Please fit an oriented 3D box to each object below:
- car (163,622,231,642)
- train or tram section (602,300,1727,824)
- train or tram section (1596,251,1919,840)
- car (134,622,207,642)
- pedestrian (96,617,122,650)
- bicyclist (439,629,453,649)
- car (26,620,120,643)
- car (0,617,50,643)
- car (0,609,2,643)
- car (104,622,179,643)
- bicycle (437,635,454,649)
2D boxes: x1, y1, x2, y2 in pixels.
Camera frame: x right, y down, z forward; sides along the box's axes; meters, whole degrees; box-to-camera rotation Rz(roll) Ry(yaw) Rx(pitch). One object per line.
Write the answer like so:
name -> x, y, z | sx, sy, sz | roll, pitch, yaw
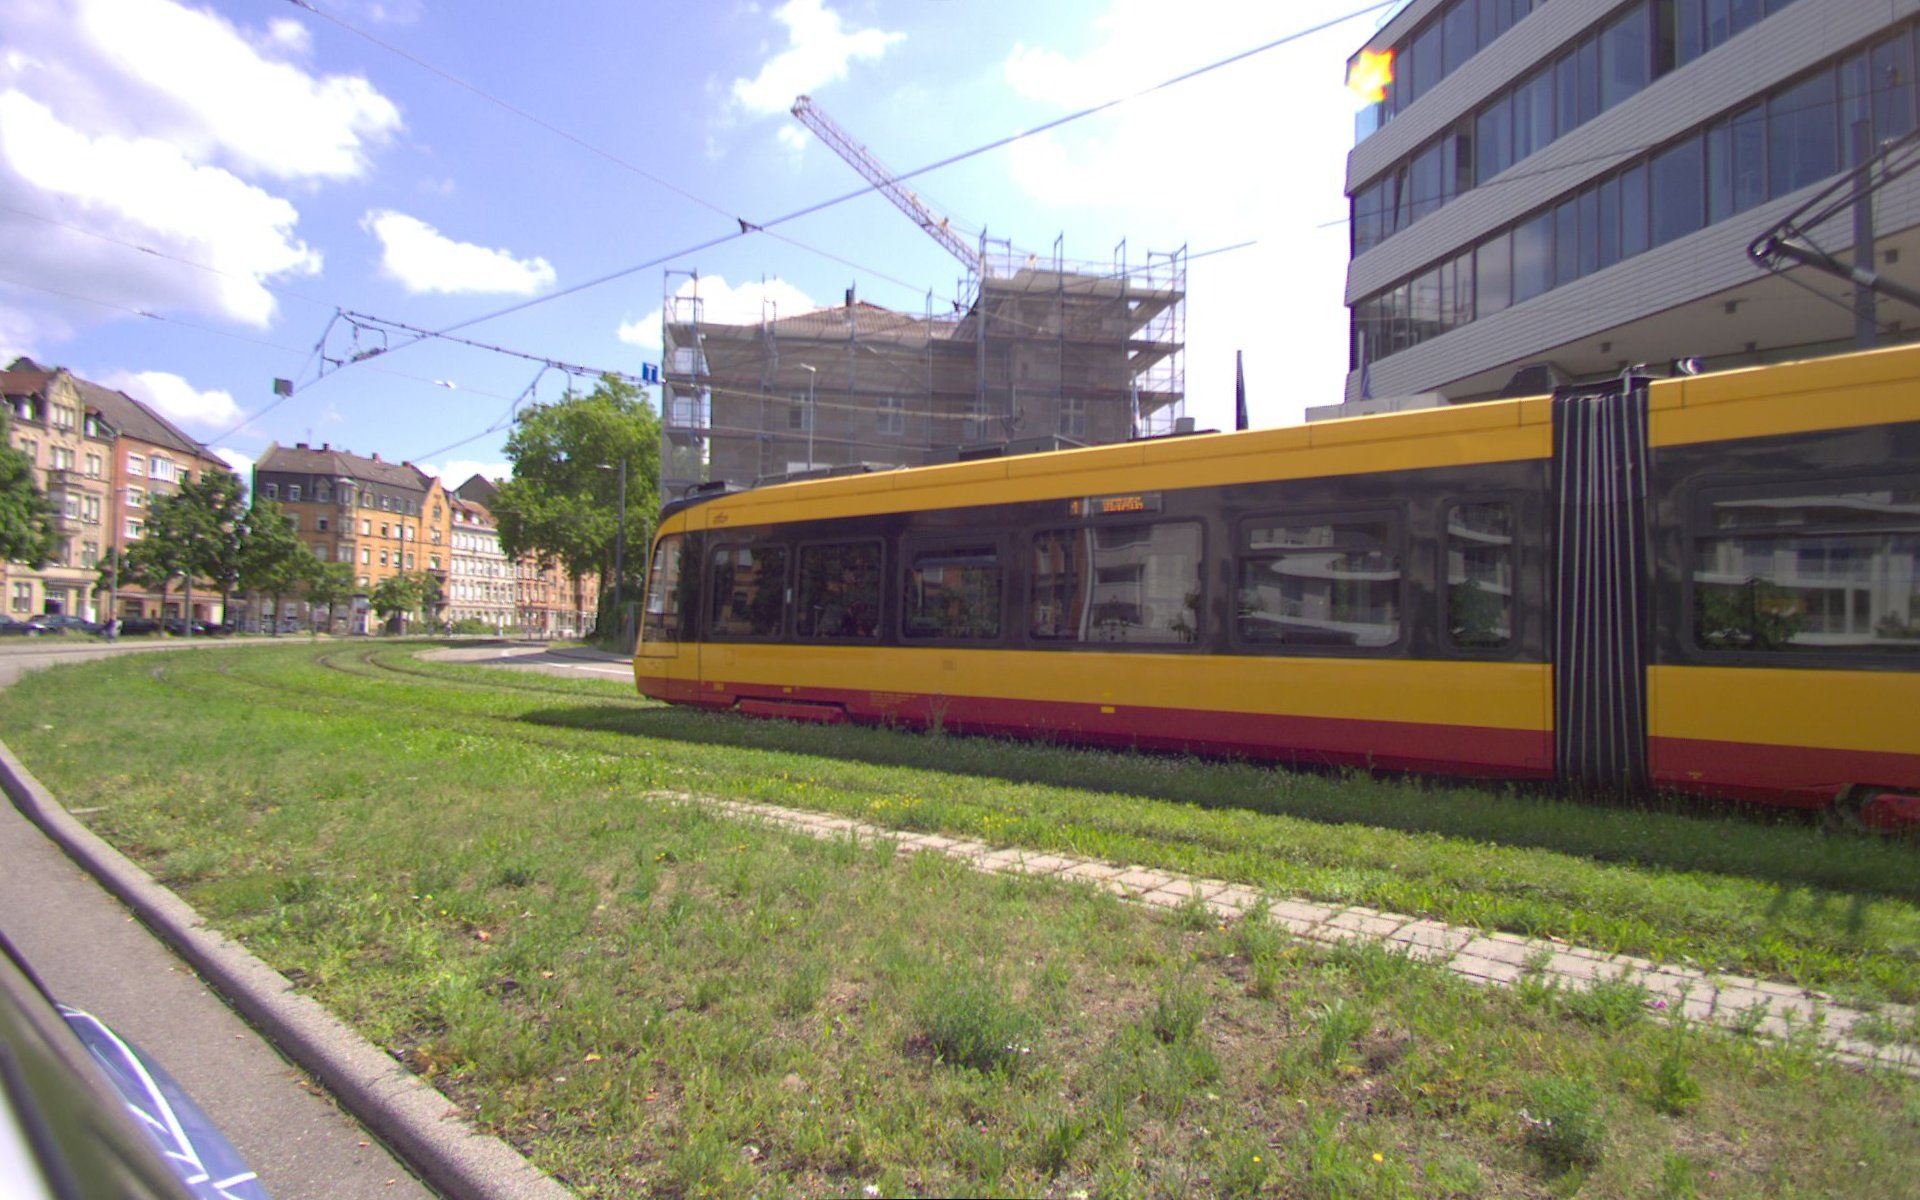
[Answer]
car -> -57.167, 2.388, 75.916 | 3.932, 1.364, 1.967 | 0, -2, -33
train or tram section -> 0.922, -0.129, 12.411 | 13.481, 3.627, 3.185 | -1, -3, 38
train or tram section -> 9.607, -0.347, 4.576 | 3.019, 3.631, 11.000 | 4, -4, -44
car -> -56.554, 2.271, 72.524 | 3.939, 1.391, 1.963 | 1, -2, -43
pedestrian -> -46.960, 1.843, 55.830 | 0.691, 1.717, 1.047 | 1, 1, -12
bicyclist -> -48.148, 3.649, 94.783 | 0.686, 1.838, 0.957 | 6, -4, -6
car -> -54.673, 1.926, 62.406 | 1.853, 1.391, 4.208 | -2, -2, 43
car -> -53.409, 1.670, 56.133 | 1.853, 1.391, 4.208 | -2, -2, 43
car -> -52.544, 1.369, 52.335 | 1.853, 1.754, 4.303 | -2, -2, 43
car -> -56.051, 2.190, 69.358 | 3.935, 1.391, 1.965 | 1, -2, -38
bicycle -> -48.171, 3.916, 94.767 | 0.685, 1.251, 1.842 | 6, -4, -7
